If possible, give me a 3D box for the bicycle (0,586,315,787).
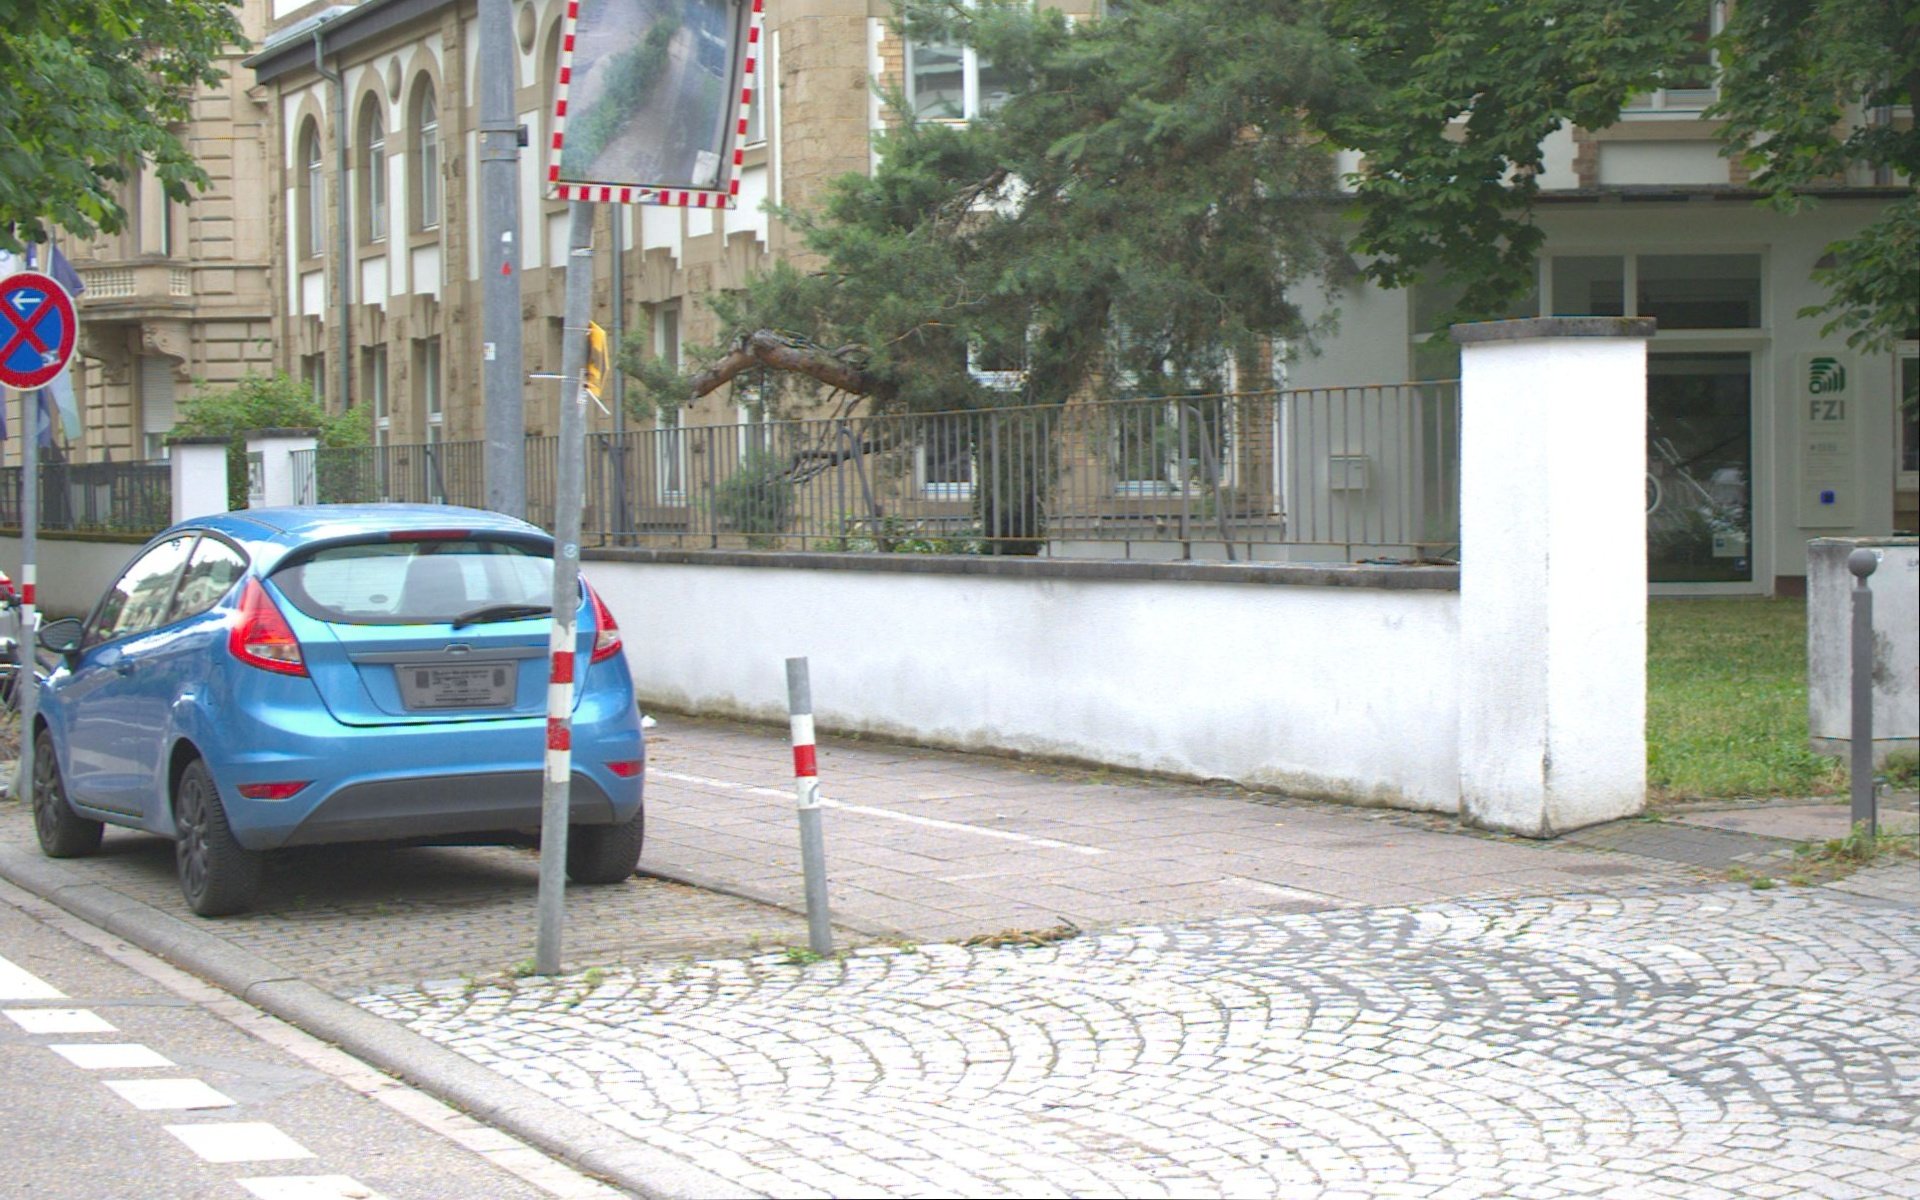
[{"bbox_3d":[-4.418,0.438,17.870,2.012,0.953,0.534,-2,2,-29],"label":"bicycle"}]

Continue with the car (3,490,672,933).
[{"bbox_3d":[-2.575,0.323,13.604,1.674,1.455,3.433,-3,3,-26],"label":"car"}]
